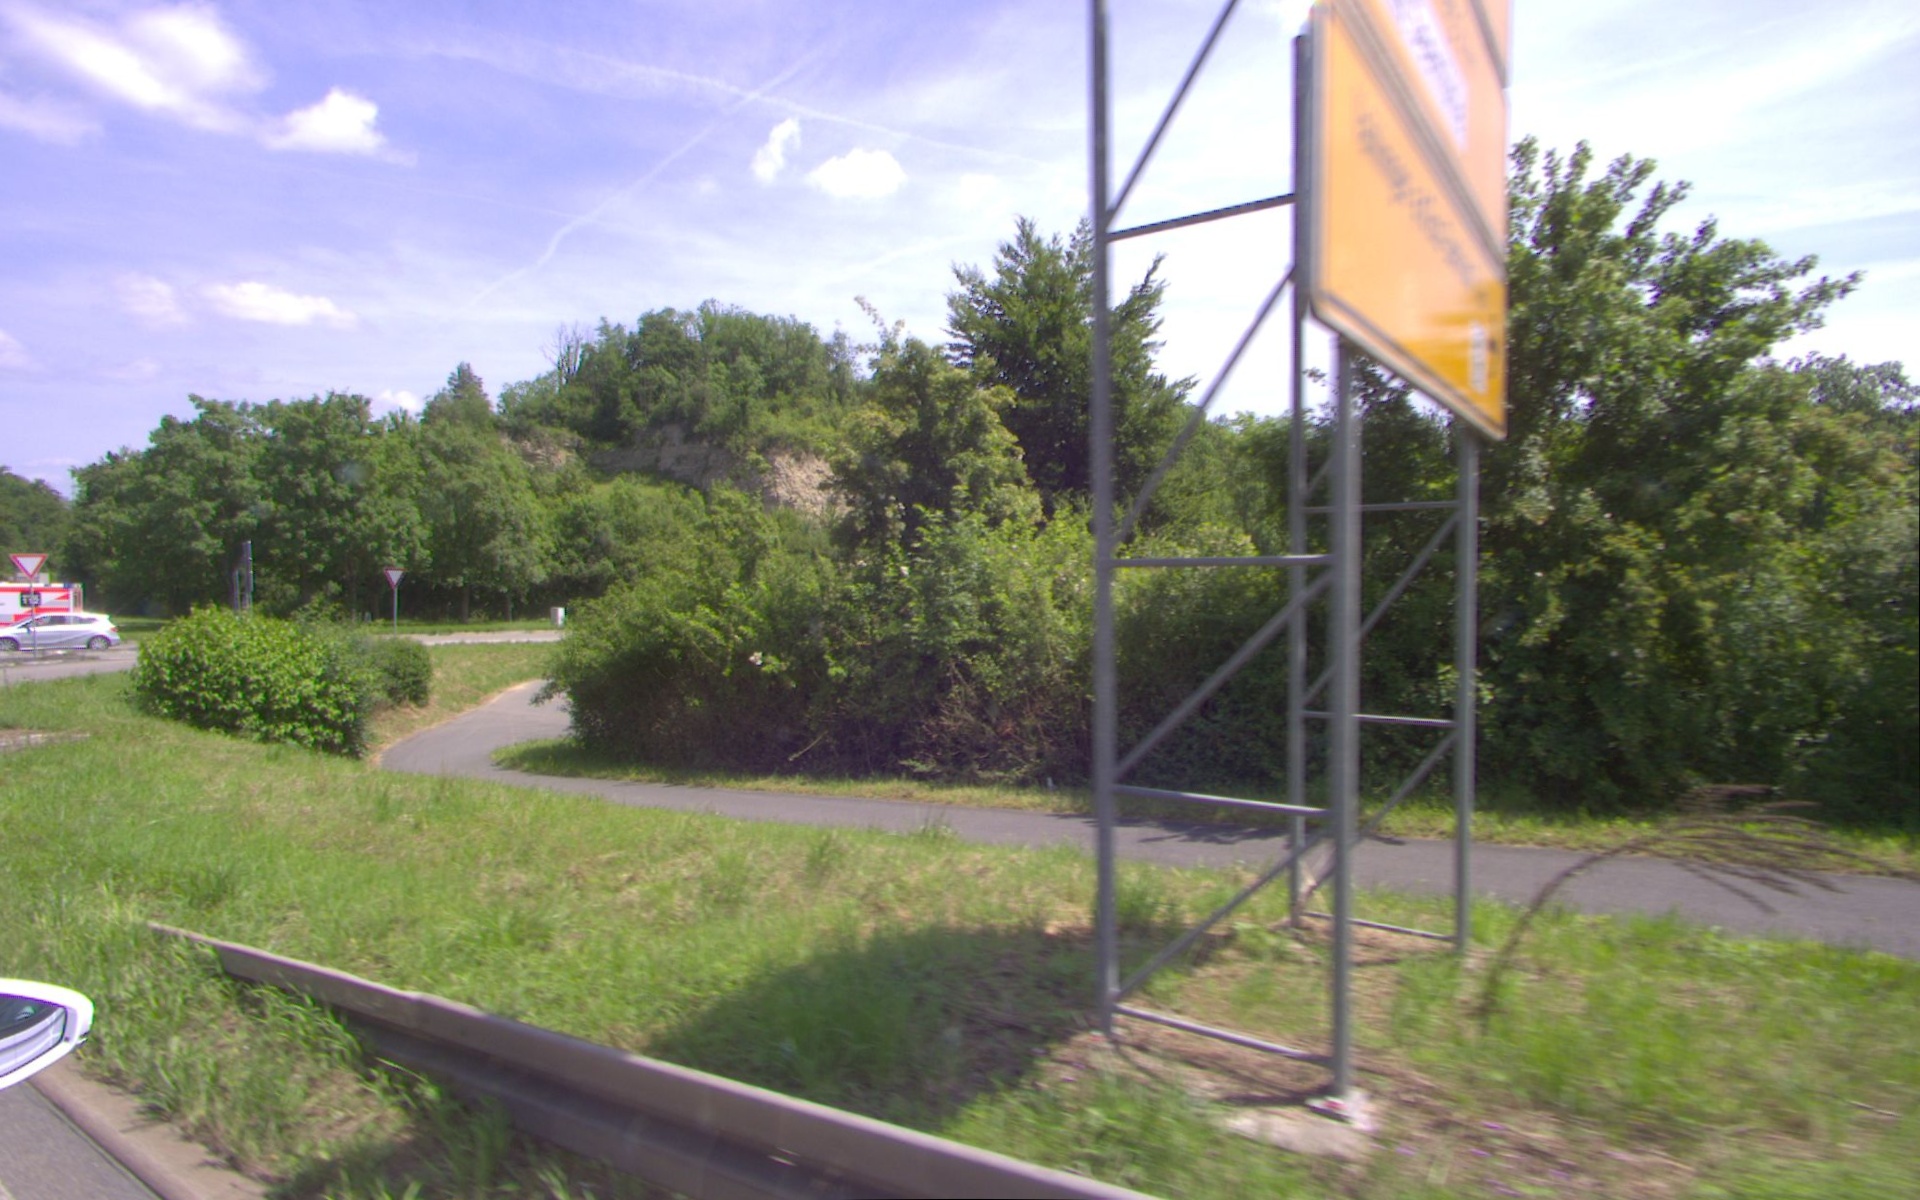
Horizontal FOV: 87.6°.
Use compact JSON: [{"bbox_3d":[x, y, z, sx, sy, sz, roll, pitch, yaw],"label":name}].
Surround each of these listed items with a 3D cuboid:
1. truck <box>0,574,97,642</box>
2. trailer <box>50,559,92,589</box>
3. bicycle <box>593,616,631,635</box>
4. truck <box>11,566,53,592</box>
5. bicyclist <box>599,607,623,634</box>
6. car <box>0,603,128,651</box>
[{"bbox_3d":[-40.501,0.360,42.130,5.946,2.761,2.490,1,-3,-31],"label":"truck"},{"bbox_3d":[-125.704,-3.600,141.702,3.220,3.733,9.189,1,-1,-35],"label":"trailer"},{"bbox_3d":[-19.747,1.454,56.805,0.786,1.008,1.986,-2,-3,31],"label":"bicycle"},{"bbox_3d":[-117.744,-2.650,127.109,2.828,2.986,7.057,1,-1,-35],"label":"truck"},{"bbox_3d":[-19.766,1.159,56.762,0.784,1.466,1.004,-2,-2,31],"label":"bicyclist"},{"bbox_3d":[-35.344,1.073,38.872,1.976,1.740,4.412,-3,-3,38],"label":"car"}]
